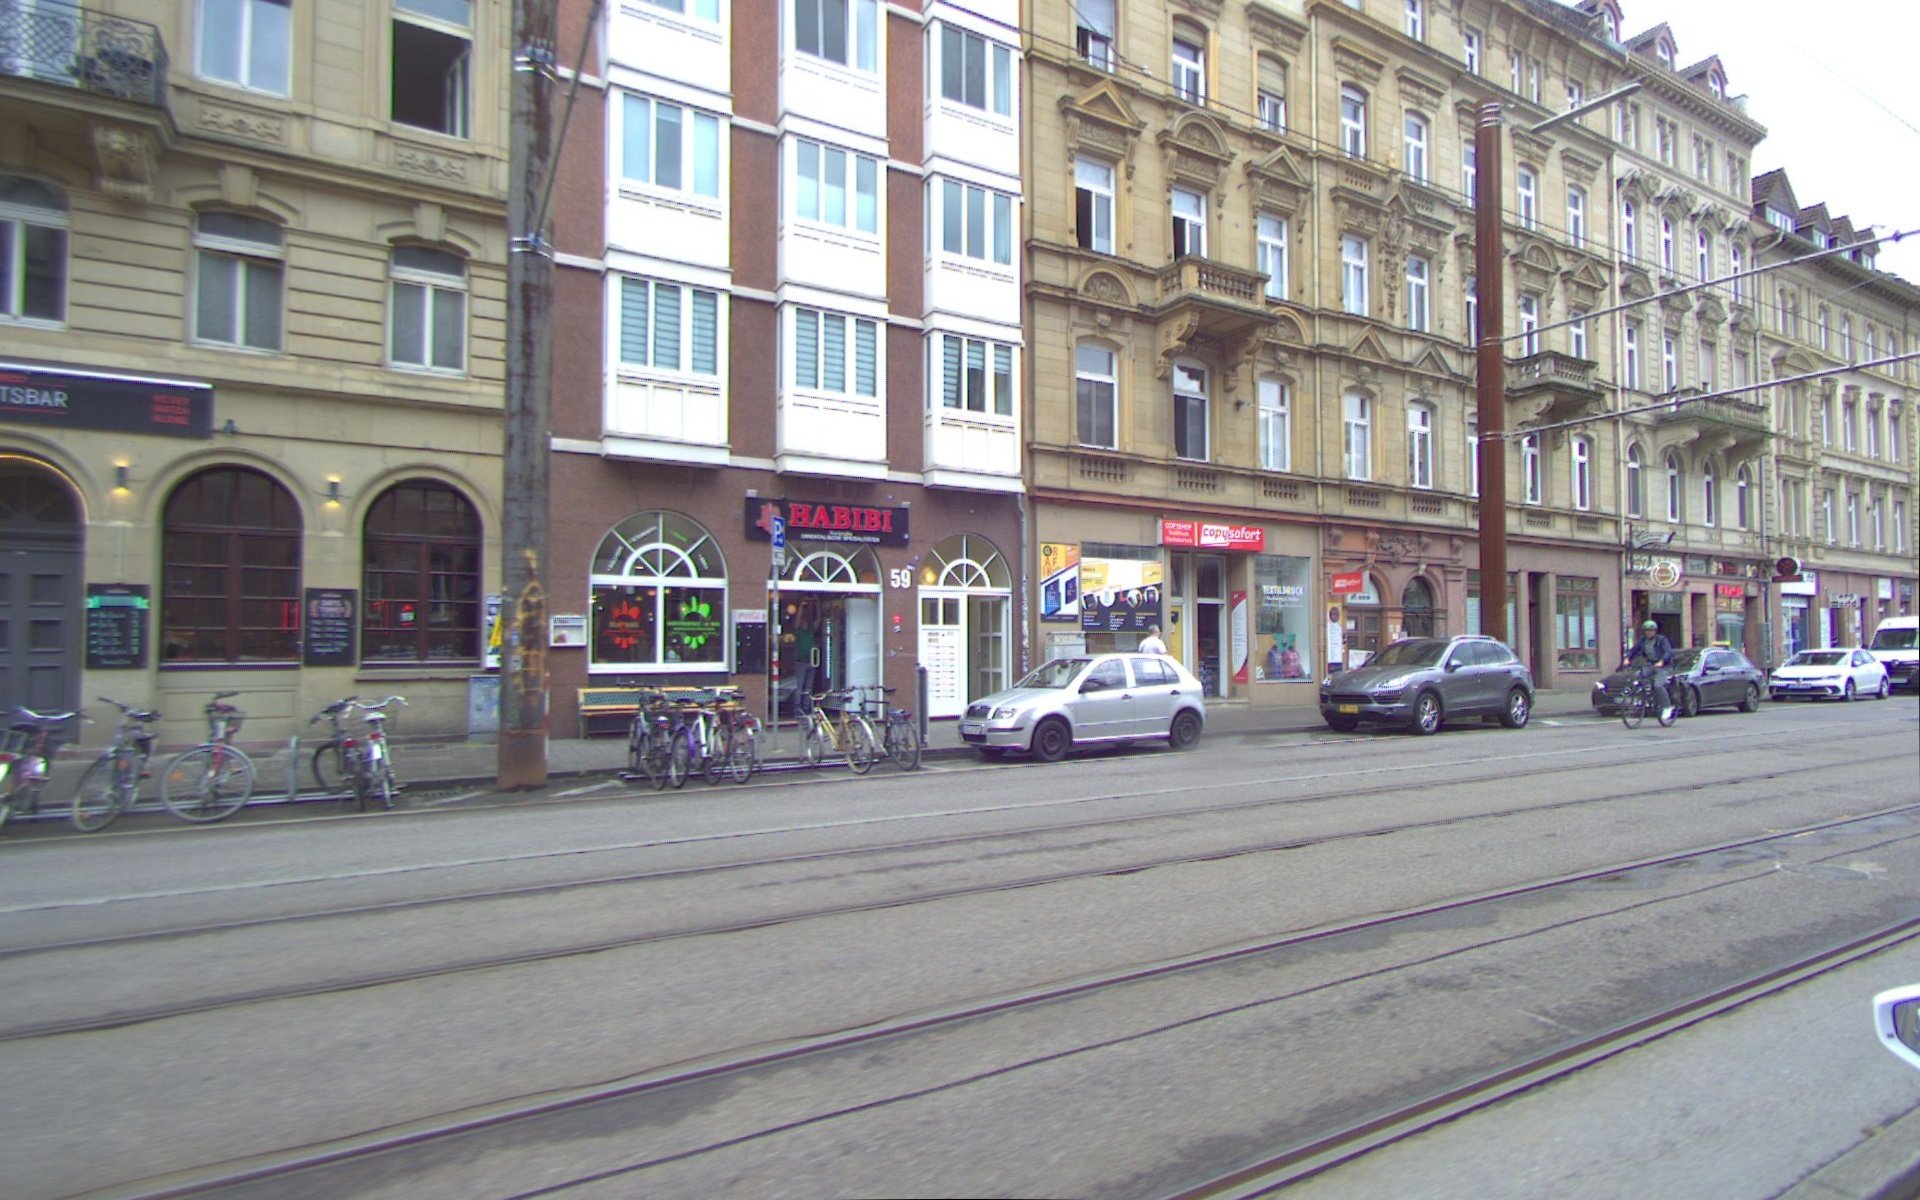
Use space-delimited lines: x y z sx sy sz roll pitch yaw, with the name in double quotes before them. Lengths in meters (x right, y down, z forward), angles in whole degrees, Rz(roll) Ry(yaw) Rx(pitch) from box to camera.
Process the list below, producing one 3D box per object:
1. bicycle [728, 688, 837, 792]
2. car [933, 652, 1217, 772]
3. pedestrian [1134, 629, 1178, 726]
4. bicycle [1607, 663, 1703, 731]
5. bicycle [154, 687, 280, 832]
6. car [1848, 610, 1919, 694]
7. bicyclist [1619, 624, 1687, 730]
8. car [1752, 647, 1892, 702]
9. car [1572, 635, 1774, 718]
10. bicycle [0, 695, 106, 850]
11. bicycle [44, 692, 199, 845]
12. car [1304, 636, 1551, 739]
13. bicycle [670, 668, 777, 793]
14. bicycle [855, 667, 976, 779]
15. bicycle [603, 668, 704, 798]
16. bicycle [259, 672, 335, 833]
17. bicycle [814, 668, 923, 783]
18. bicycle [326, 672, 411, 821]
"bicycle" -2.233 1.666 12.396 0.612 1.055 2.272 1 -3 -29
"car" 1.706 1.544 14.651 3.876 1.507 1.735 1 -4 -31
"pedestrian" 3.732 1.460 19.136 0.769 1.805 0.655 0 -2 7
"bicycle" 12.853 1.778 18.563 2.020 1.189 0.583 2 -5 -29
"bicycle" -7.144 1.465 9.761 0.658 1.218 2.273 1 -5 -29
"car" 31.025 1.683 32.297 5.602 2.518 2.043 2 -5 -32
"bicyclist" 12.777 1.398 18.516 1.016 1.908 0.642 1 -2 -29
"car" 24.256 2.088 28.244 4.119 1.441 1.762 2 -6 -32
"car" 16.351 1.732 22.965 4.996 1.710 1.910 2 -6 -32
"bicycle" -8.385 1.472 8.963 0.696 1.218 2.273 1 -5 -29
"bicycle" -7.748 1.486 9.395 0.658 1.218 2.273 1 -5 -29
"car" 8.784 1.552 18.731 4.978 1.711 1.803 1 -4 -33
"bicycle" -2.895 1.516 12.092 0.658 1.346 2.273 1 -5 -29
"bicycle" -0.642 1.598 13.389 0.658 1.346 2.273 1 -5 -29
"bicycle" -3.604 1.491 11.683 0.658 1.346 2.273 1 -5 -29
"bicycle" -6.616 1.441 10.086 0.443 1.311 2.272 1 -1 -29
"bicycle" -1.233 1.576 12.984 0.515 1.346 2.273 1 -5 -29
"bicycle" -6.084 1.448 10.402 0.658 1.346 2.273 1 -5 -29
